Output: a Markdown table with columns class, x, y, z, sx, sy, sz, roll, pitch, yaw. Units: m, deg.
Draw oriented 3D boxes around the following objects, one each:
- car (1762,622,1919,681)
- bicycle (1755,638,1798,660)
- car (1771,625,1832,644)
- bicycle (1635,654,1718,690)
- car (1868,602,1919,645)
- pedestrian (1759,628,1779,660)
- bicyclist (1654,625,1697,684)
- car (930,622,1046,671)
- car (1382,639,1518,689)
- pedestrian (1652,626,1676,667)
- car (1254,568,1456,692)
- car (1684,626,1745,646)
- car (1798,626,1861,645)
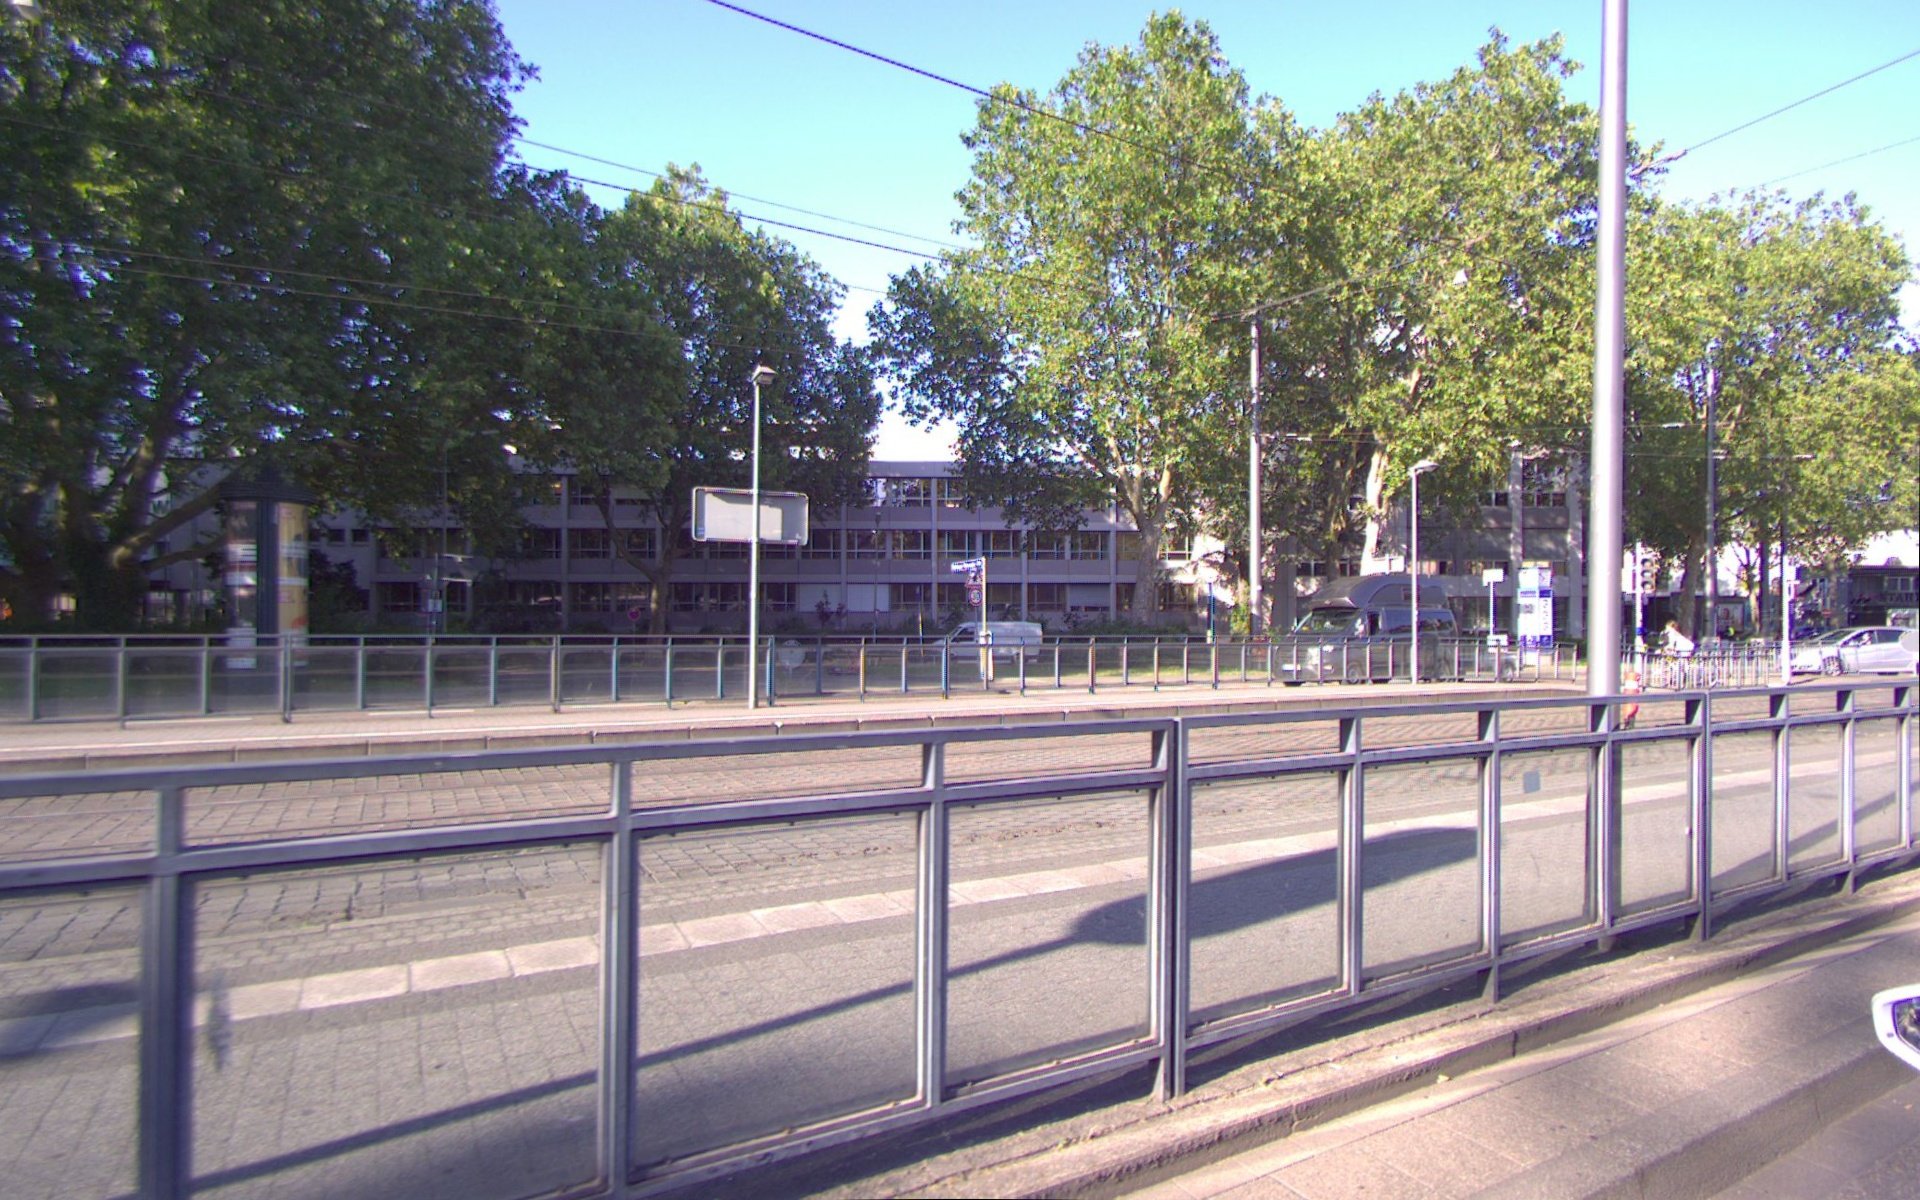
| class | x | y | z | sx | sy | sz | roll | pitch | yaw |
| --- | --- | --- | --- | --- | --- | --- | --- | --- | --- |
| car | 28.437 | 1.629 | 32.044 | 4.076 | 1.715 | 1.822 | 1 | 0 | 7 |
| bicycle | 44.560 | 2.683 | 54.840 | 0.494 | 1.122 | 1.788 | 1 | -1 | -27 |
| car | 72.458 | 2.985 | 86.506 | 3.925 | 1.530 | 1.798 | 1 | -1 | -6 |
| bicycle | 17.657 | 1.767 | 24.792 | 1.586 | 0.827 | 0.527 | 0 | -1 | 27 |
| car | 72.795 | 1.813 | 75.989 | 6.413 | 3.207 | 2.501 | 1 | -1 | -7 |
| pedestrian | 44.073 | 2.396 | 54.751 | 0.642 | 1.683 | 0.646 | 1 | -1 | -27 |
| bicyclist | 17.662 | 1.338 | 24.794 | 0.788 | 1.433 | 0.527 | 0 | -1 | 26 |
| car | 1.395 | 2.354 | 51.018 | 5.616 | 2.366 | 2.156 | 1 | -1 | -7 |
| car | 13.042 | 1.676 | 26.767 | 2.881 | 1.178 | 2.055 | 2 | -1 | -32 |
| pedestrian | 27.202 | 1.800 | 38.827 | 0.669 | 1.572 | 0.533 | 1 | -1 | -30 |
| car | 9.740 | 0.751 | 24.638 | 4.976 | 2.779 | 2.055 | 2 | -1 | -33 |
| car | 63.803 | 3.040 | 85.020 | 1.767 | 1.530 | 3.994 | 1 | -1 | -8 |
| car | 72.453 | 2.954 | 83.721 | 3.925 | 1.530 | 1.798 | 1 | -1 | -6 |
